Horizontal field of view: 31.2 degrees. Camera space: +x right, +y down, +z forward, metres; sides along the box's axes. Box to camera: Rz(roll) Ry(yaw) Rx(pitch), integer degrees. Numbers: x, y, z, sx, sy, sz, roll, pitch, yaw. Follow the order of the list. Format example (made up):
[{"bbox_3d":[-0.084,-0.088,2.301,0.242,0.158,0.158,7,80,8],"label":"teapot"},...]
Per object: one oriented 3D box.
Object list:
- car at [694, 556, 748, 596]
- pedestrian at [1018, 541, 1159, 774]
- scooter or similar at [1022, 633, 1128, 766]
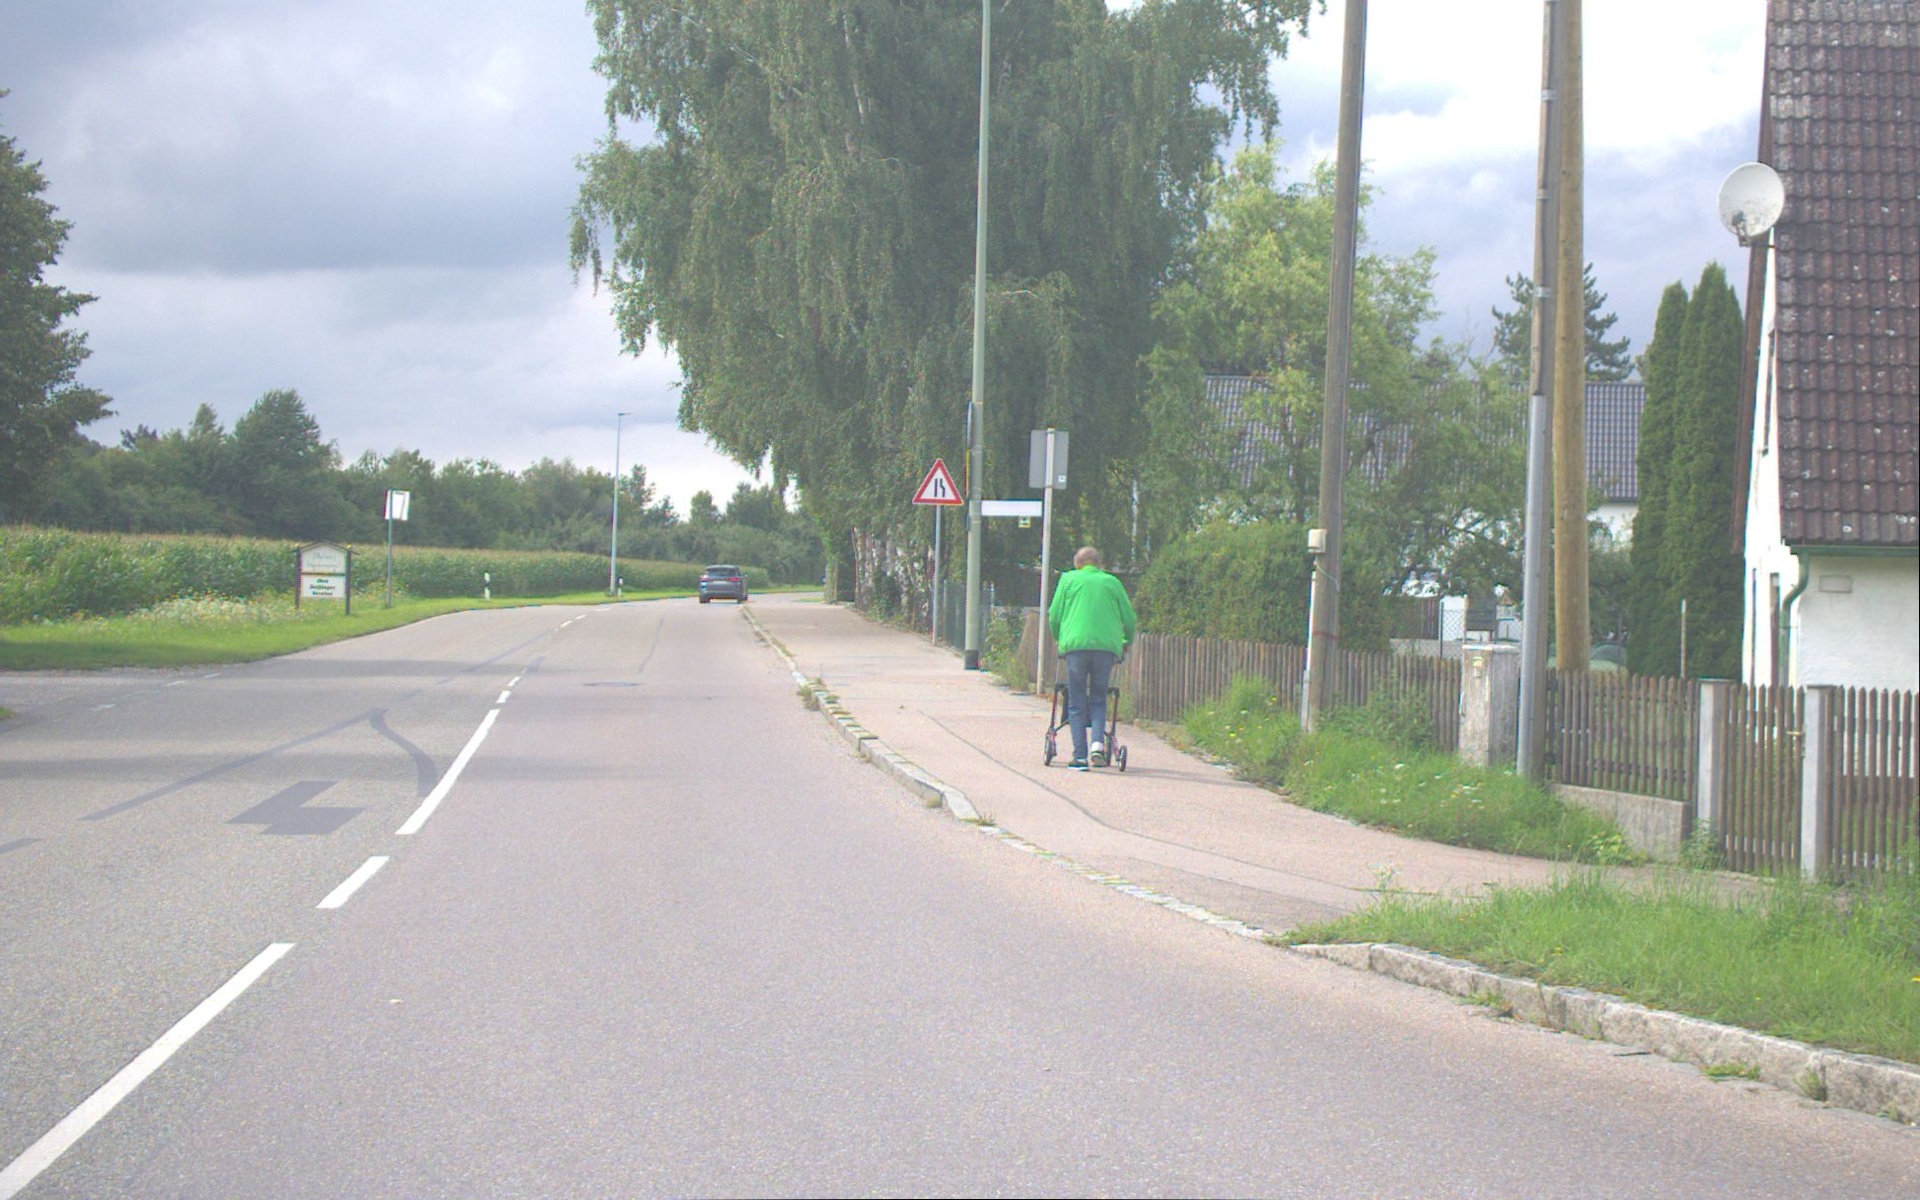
[{"bbox_3d":[-9.898,-1.004,142.171,1.993,1.546,4.001,2,1,-6],"label":"car"},{"bbox_3d":[0.963,0.423,25.874,0.788,1.659,0.712,6,0,-7],"label":"pedestrian"},{"bbox_3d":[0.883,0.763,26.551,0.630,0.945,0.622,6,1,-7],"label":"scooter or similar"}]
